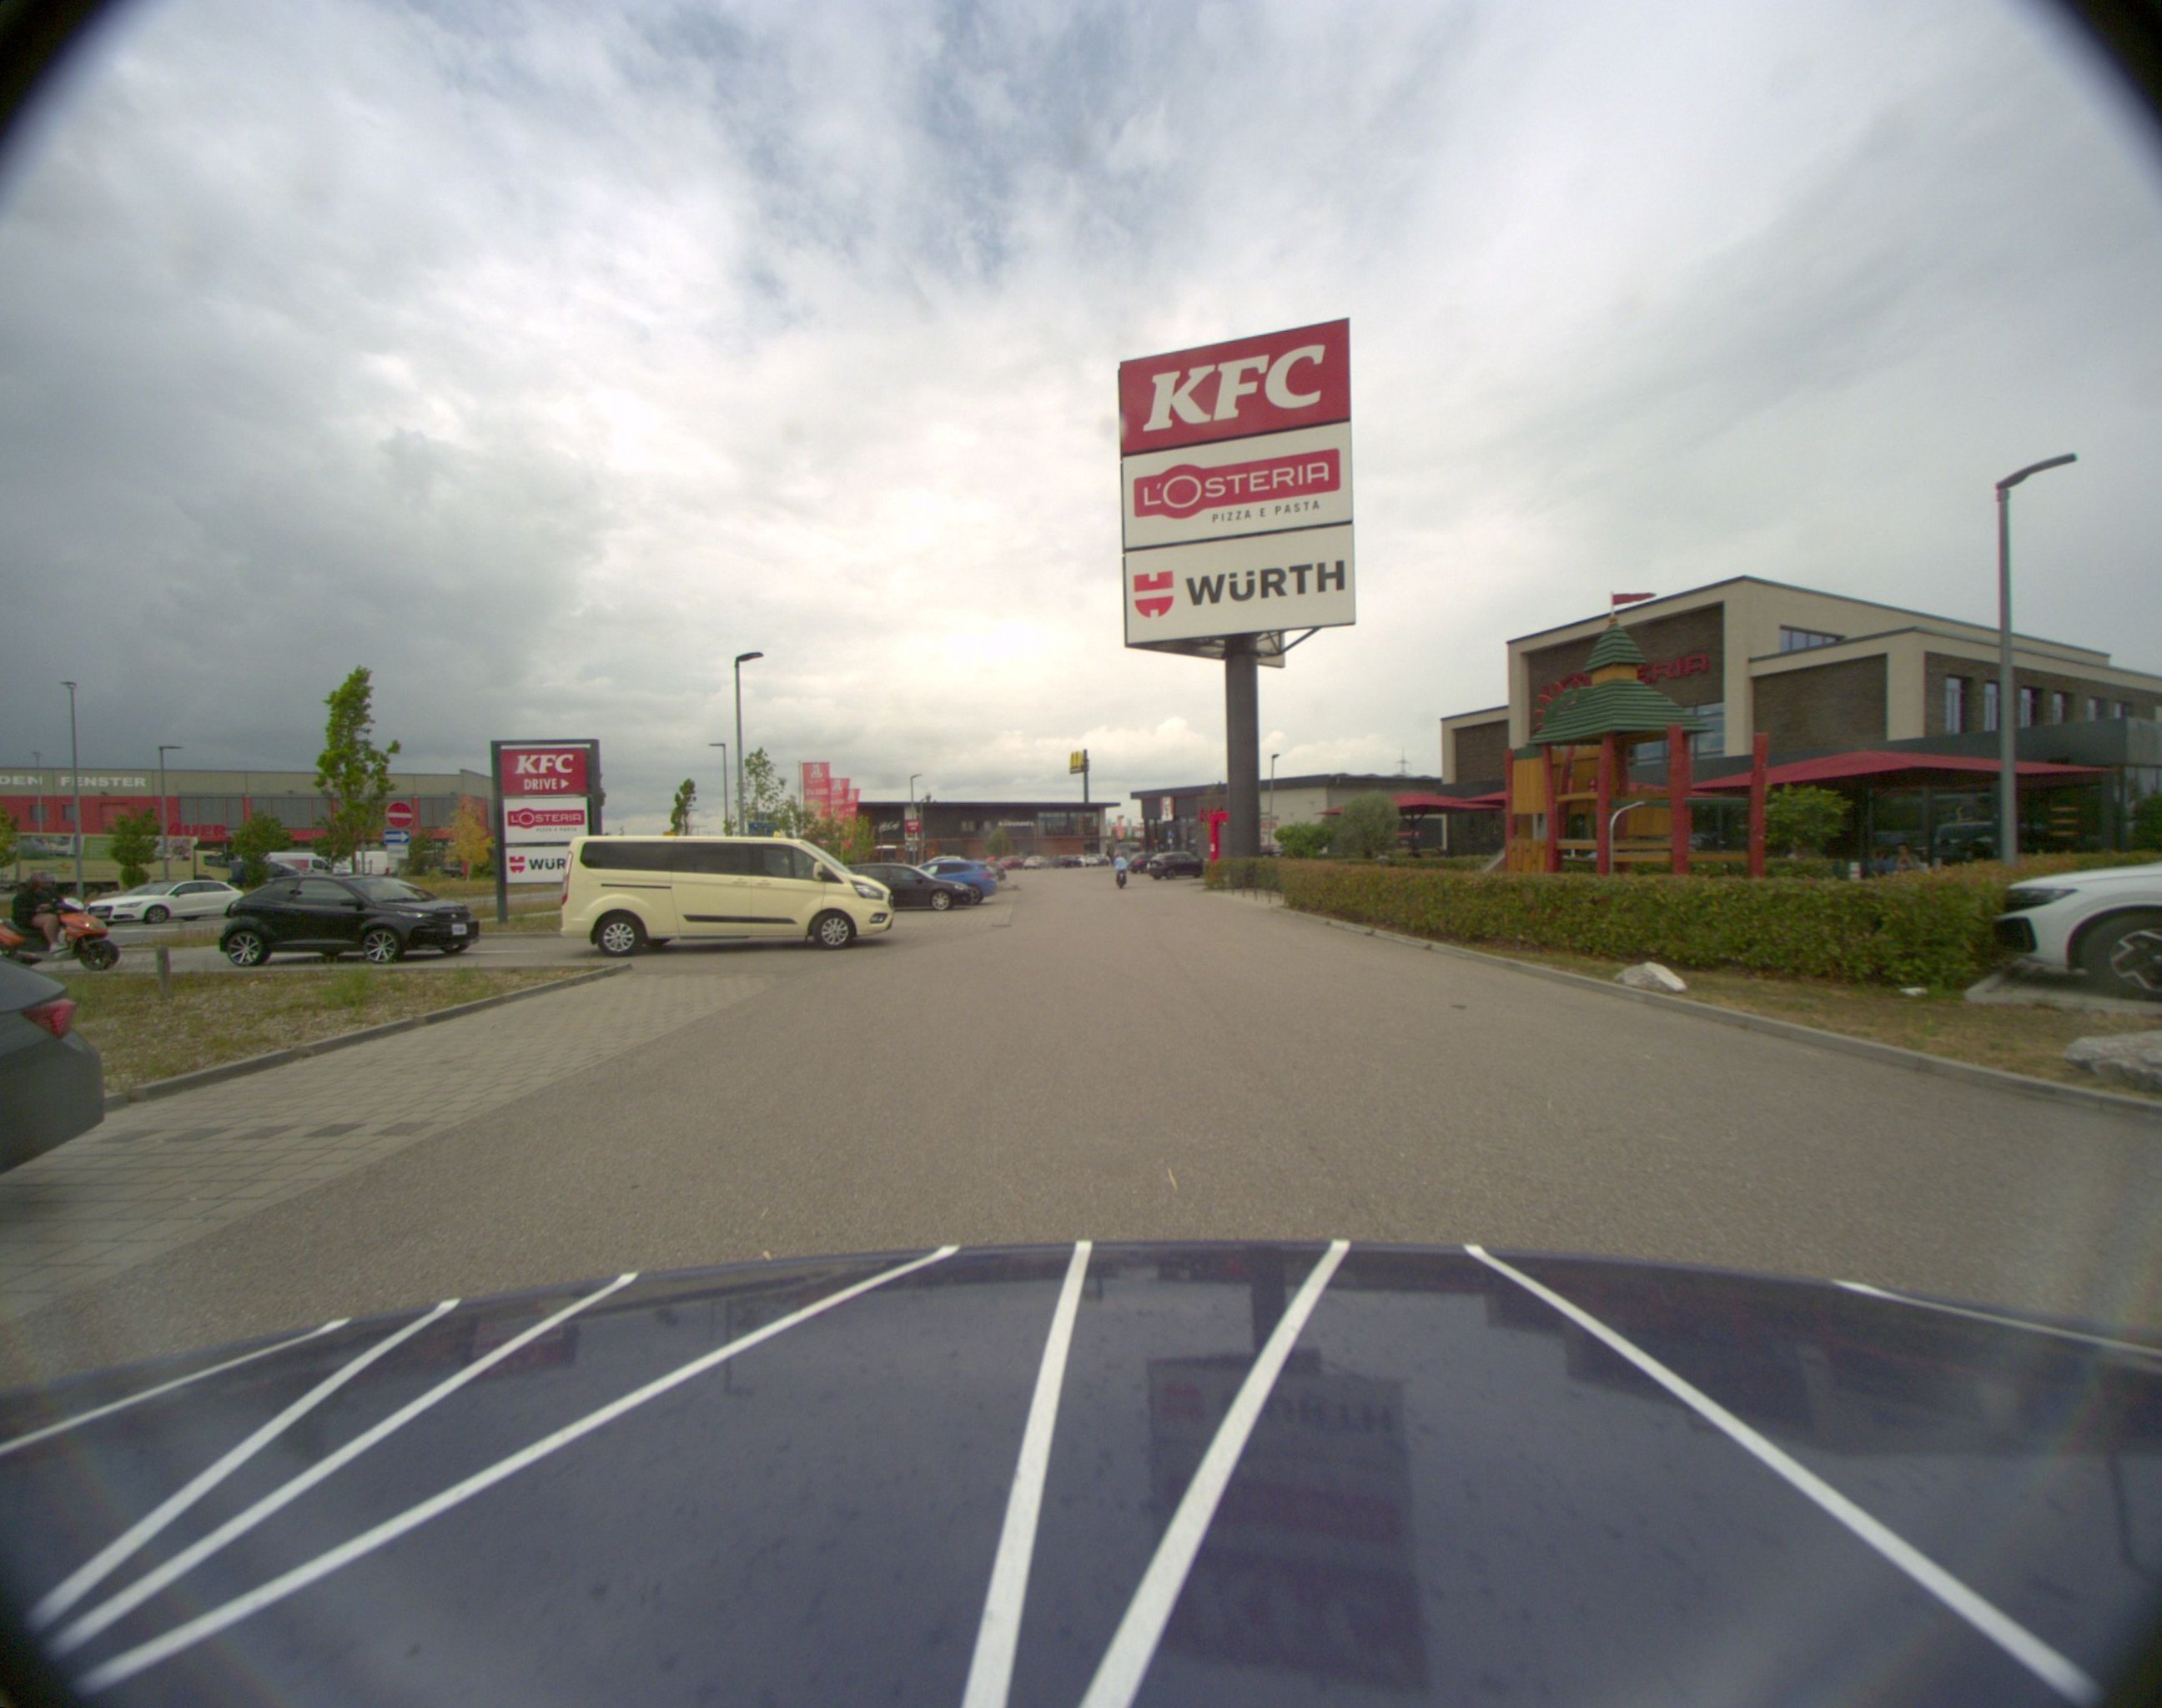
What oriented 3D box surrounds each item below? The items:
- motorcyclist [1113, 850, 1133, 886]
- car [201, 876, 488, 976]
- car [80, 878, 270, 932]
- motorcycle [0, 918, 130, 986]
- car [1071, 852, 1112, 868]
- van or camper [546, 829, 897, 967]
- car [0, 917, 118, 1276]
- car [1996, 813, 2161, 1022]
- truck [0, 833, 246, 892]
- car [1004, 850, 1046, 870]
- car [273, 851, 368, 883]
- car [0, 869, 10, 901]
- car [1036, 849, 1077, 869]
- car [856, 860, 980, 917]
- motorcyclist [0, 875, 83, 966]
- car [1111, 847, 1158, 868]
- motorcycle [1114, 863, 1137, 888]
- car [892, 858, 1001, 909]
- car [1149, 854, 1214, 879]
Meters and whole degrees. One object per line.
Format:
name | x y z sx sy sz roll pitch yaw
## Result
motorcyclist | 1.927 0.627 35.006 0.754 1.629 1.038 -2 1 -3
car | -11.880 1.120 12.419 3.124 1.439 1.506 -1 1 -2
car | -30.870 1.685 26.098 1.758 1.472 4.054 -2 1 -5
motorcycle | -15.801 1.487 11.496 1.868 0.911 0.556 -2 1 -7
car | 1.187 0.641 85.694 3.990 1.652 2.003 -2 1 26
van or camper | -5.995 0.670 13.393 5.236 2.049 1.857 -2 1 -13
car | -5.331 1.091 1.306 1.752 1.482 4.485 -2 1 -4
car | 10.478 0.488 5.483 1.761 1.738 4.731 -2 1 -31
truck | -52.821 0.354 42.217 2.674 2.928 8.191 -1 1 16
car | -6.017 0.670 81.718 3.990 2.002 2.003 -2 1 26
car | -55.893 0.898 55.944 4.443 2.110 1.996 -3 1 -23
car | -50.611 1.479 33.328 3.846 1.420 1.739 -2 1 -21
car | -2.662 0.525 83.309 3.990 2.002 2.003 -2 1 26
car | -5.008 1.035 23.722 3.526 1.540 1.700 -2 1 -4
motorcyclist | -15.885 0.999 11.511 0.673 1.308 0.575 -2 1 -7
car | 5.111 0.358 72.438 4.002 1.827 1.997 -2 1 -17
motorcycle | 2.033 0.979 35.050 0.816 1.069 2.149 -2 0 -3
car | -4.569 0.985 26.236 3.441 1.534 1.684 -2 1 -2
car | 5.843 0.701 44.236 3.446 1.288 1.497 -2 1 -20
